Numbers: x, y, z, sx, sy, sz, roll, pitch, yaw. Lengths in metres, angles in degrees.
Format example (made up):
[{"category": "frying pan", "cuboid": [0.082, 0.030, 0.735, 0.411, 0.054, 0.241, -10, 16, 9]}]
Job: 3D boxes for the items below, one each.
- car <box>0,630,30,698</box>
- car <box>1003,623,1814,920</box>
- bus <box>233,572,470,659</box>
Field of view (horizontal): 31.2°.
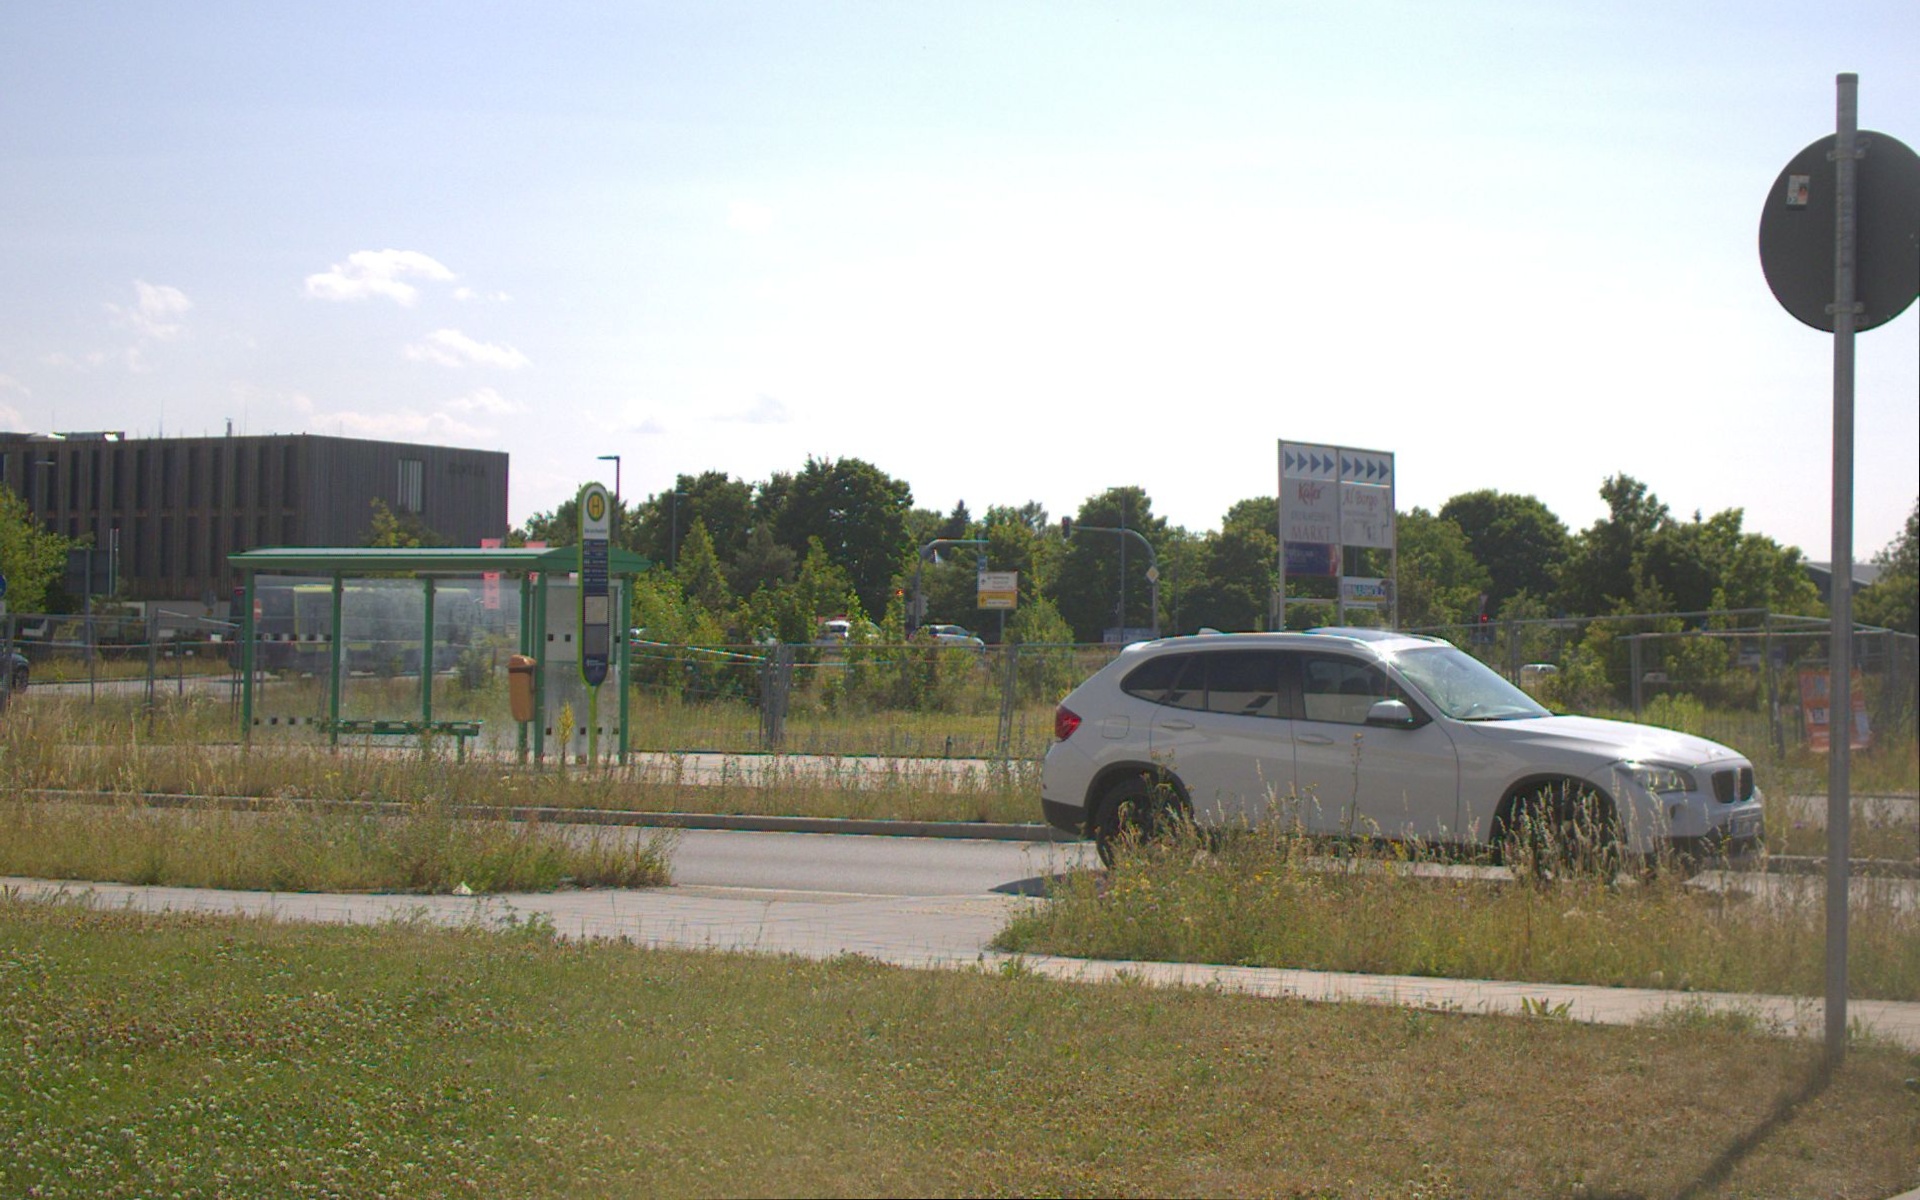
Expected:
[{"category": "car", "cuboid": [-27.539, 1.722, 94.401, 1.824, 1.853, 3.996, 1, -1, 20]}, {"category": "car", "cuboid": [2.683, 0.983, 20.991, 4.564, 1.546, 1.738, 1, -1, 32]}, {"category": "bus", "cuboid": [-20.300, 0.566, 115.630, 2.574, 2.726, 11.557, 1, 0, 19]}]
